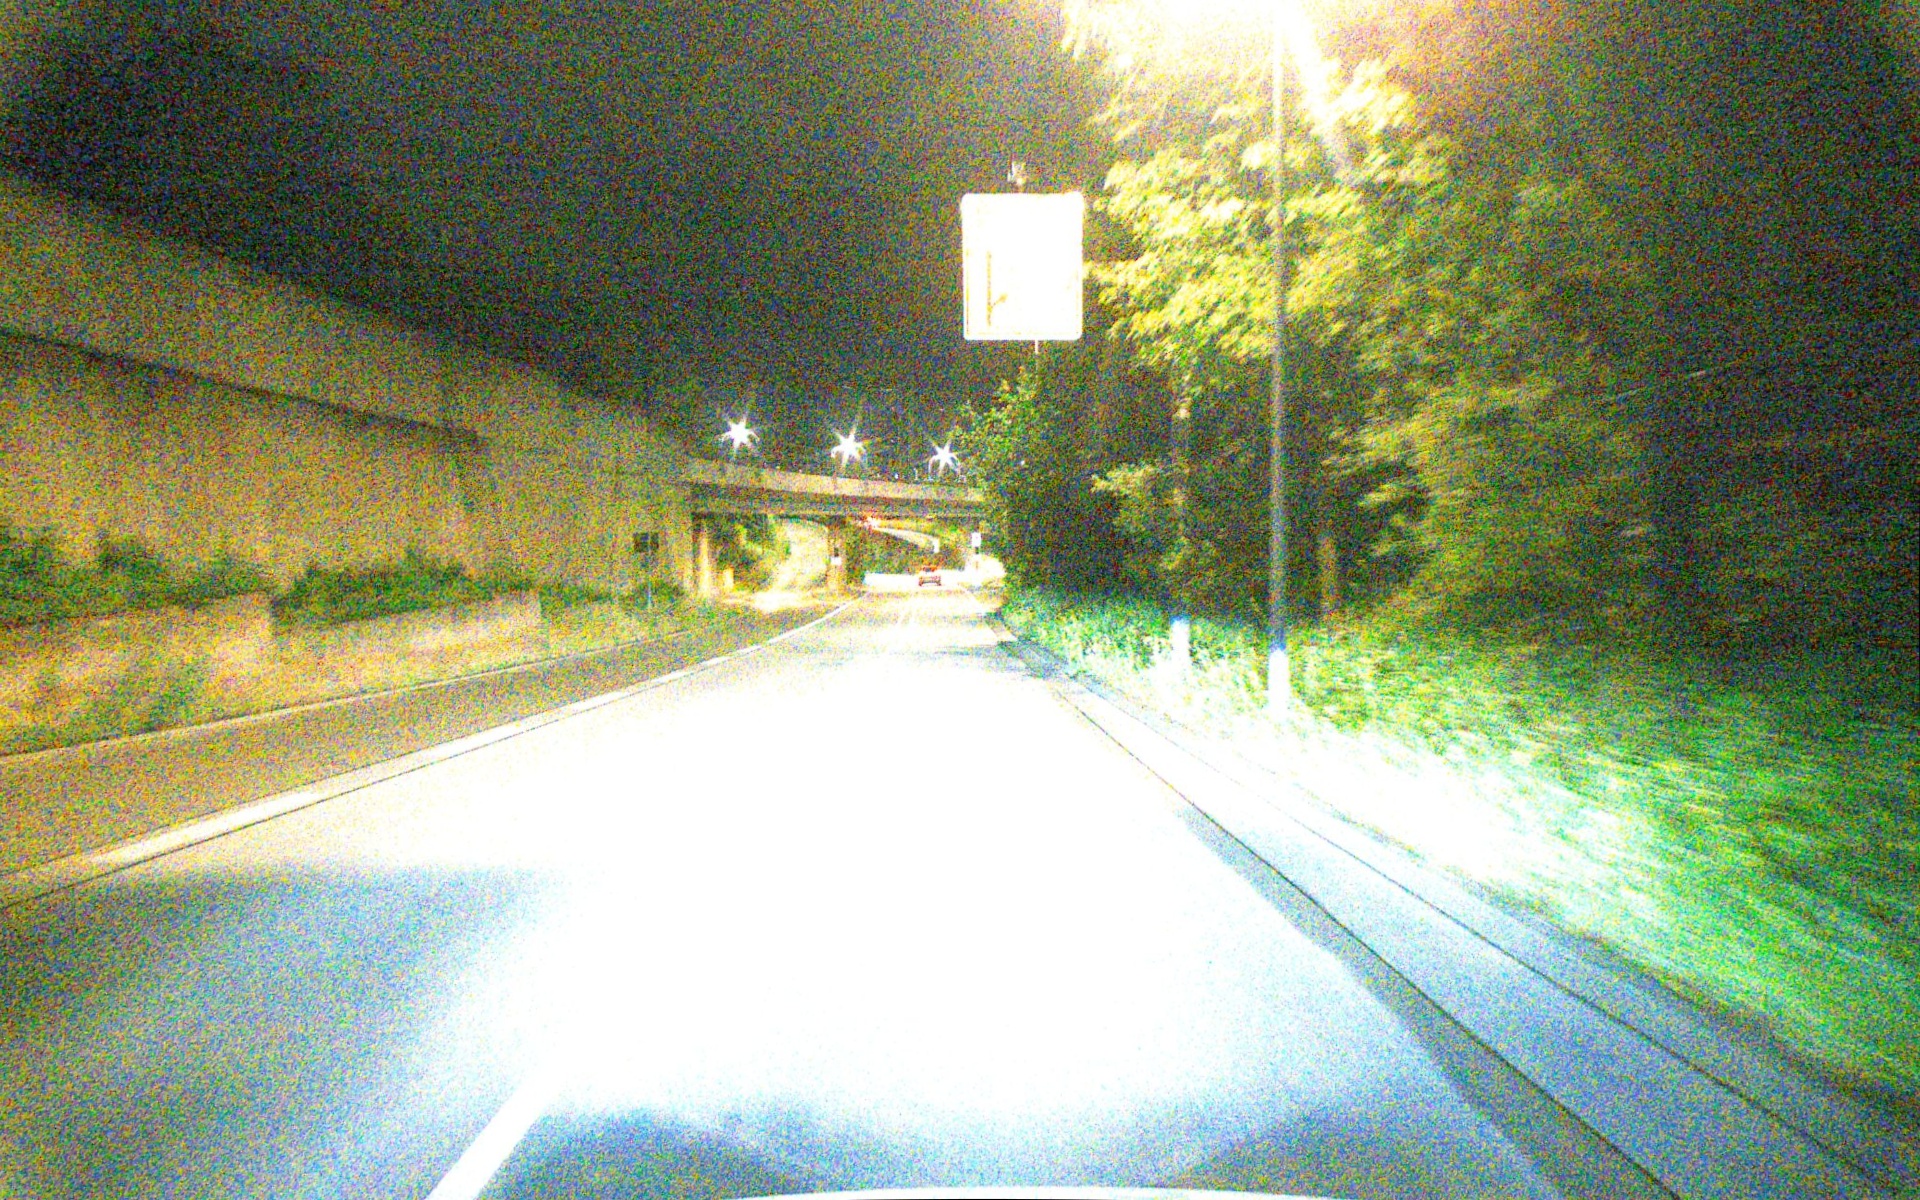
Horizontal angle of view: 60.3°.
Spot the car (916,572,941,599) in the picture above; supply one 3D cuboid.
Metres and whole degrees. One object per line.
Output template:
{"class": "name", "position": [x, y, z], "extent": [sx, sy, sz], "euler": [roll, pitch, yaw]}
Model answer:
{"class": "car", "position": [-2.522, -1.142, 132.429], "extent": [1.880, 2.049, 4.121], "euler": [1, 0, -1]}
